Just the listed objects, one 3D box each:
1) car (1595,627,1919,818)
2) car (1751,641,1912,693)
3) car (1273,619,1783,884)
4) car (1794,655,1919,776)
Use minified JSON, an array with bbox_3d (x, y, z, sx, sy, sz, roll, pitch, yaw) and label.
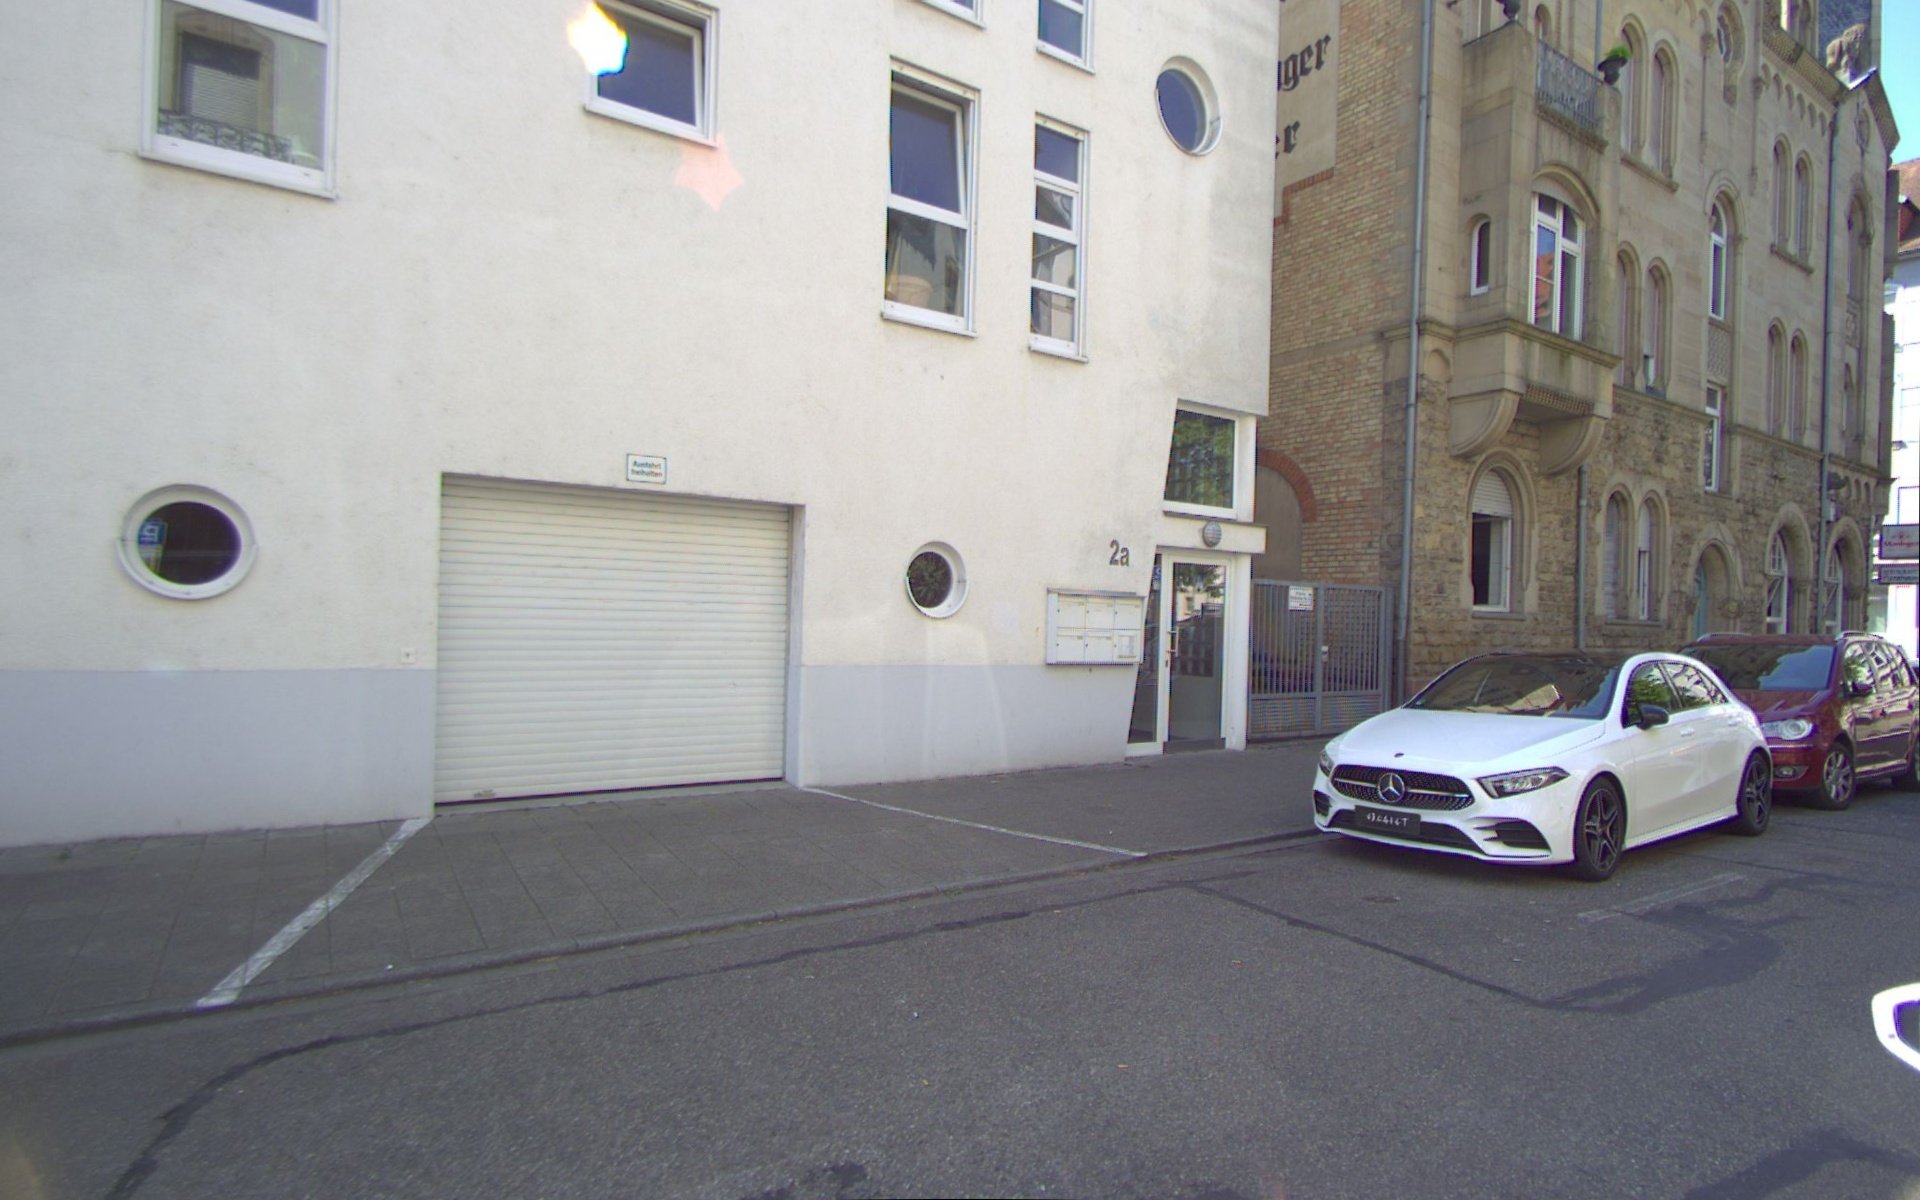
[{"bbox_3d":[8.334,1.129,10.331,4.013,1.603,1.661,3,-3,-36],"label":"car"},{"bbox_3d":[31.021,2.349,35.863,1.789,1.583,4.021,2,-1,-34],"label":"car"},{"bbox_3d":[4.424,0.950,7.598,4.238,1.479,1.764,3,-3,-36],"label":"car"},{"bbox_3d":[12.634,1.423,13.094,4.472,1.370,1.690,3,-3,-36],"label":"car"}]
